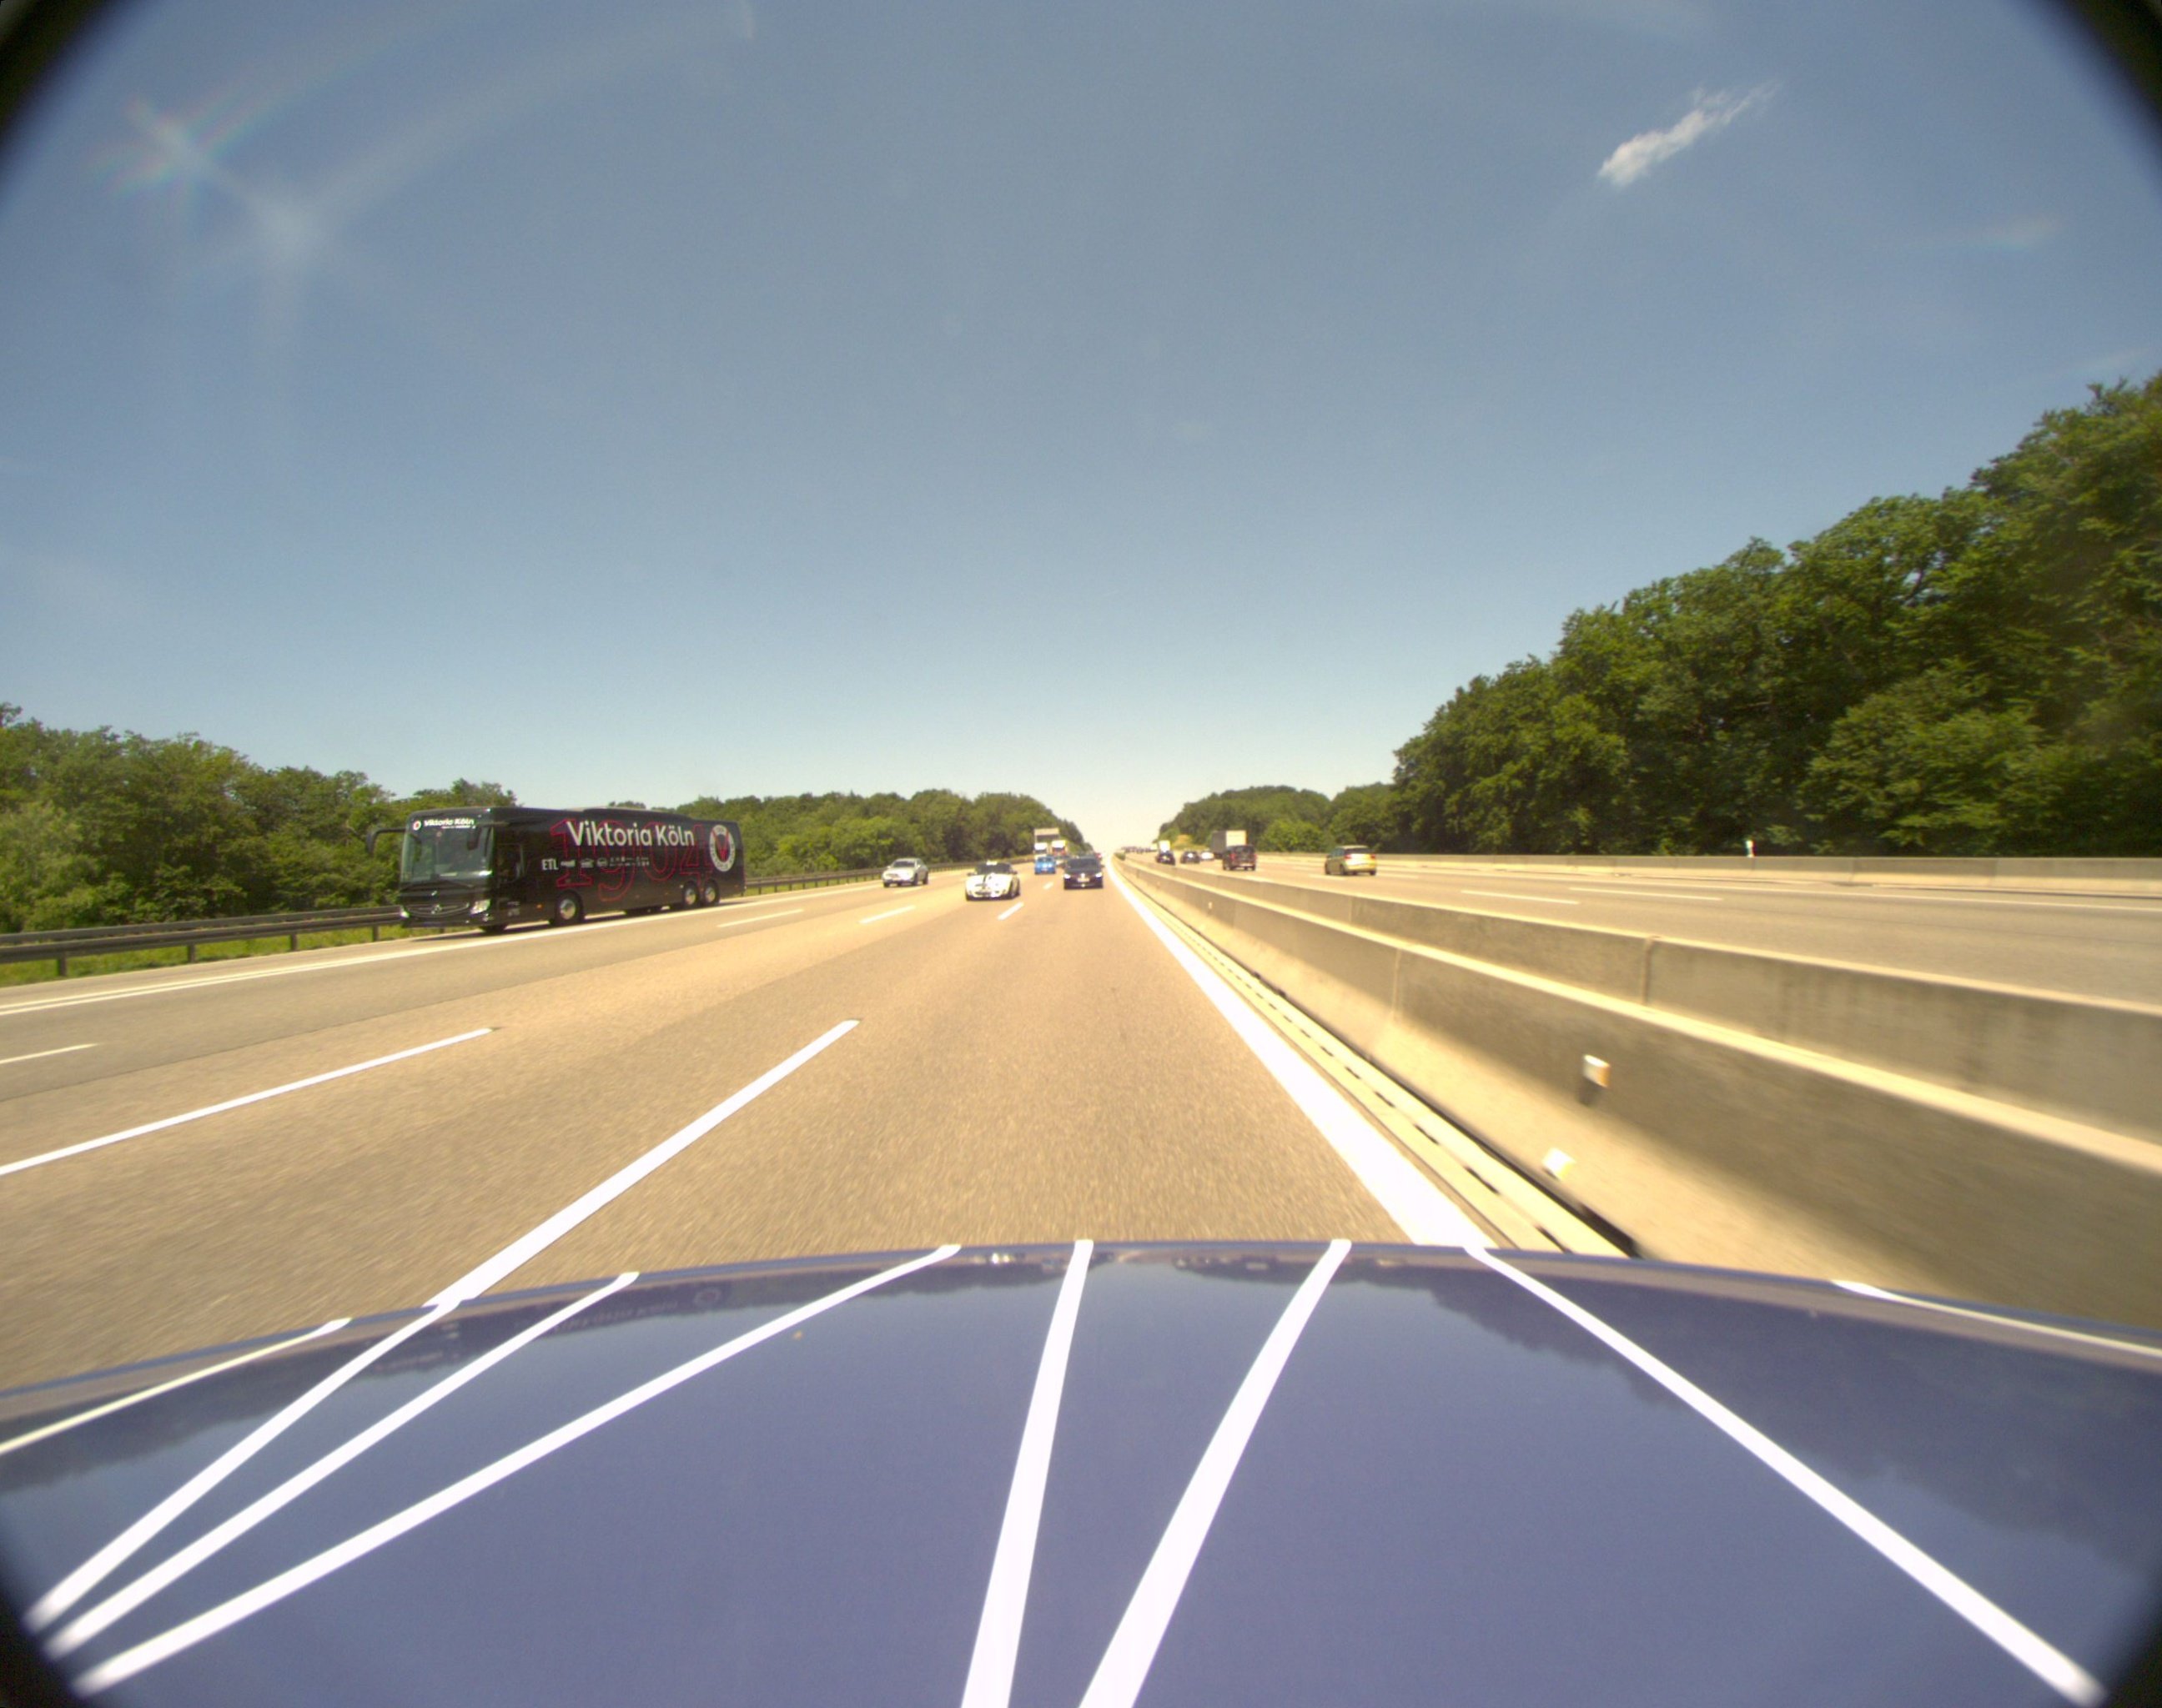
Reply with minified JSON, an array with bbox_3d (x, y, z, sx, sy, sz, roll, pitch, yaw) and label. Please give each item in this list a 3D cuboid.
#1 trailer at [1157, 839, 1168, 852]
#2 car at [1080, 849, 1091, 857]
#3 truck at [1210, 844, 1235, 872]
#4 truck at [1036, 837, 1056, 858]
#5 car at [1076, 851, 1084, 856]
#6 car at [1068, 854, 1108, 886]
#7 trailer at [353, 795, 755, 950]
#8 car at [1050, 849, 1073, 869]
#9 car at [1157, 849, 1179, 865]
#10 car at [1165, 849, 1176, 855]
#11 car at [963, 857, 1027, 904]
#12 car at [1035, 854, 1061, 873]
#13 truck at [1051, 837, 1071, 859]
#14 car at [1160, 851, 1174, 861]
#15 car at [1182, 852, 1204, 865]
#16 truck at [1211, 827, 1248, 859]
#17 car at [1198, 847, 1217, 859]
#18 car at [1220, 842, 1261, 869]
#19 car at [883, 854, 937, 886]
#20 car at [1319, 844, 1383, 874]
[{"bbox_3d":[26.829,-2.883,249.956,2.648,4.200,14.362,-1,0,2],"label":"trailer"},{"bbox_3d":[0.910,-0.205,154.393,1.910,1.503,4.161,-4,-1,4],"label":"car"},{"bbox_3d":[20.759,0.547,112.023,2.664,4.002,5.510,-2,1,1],"label":"truck"},{"bbox_3d":[-7.249,-1.286,159.775,2.728,4.136,10.972,-4,-1,3],"label":"truck"},{"bbox_3d":[-0.389,-0.125,218.421,1.910,1.503,4.161,-4,-1,4],"label":"car"},{"bbox_3d":[0.409,0.769,38.276,1.777,1.425,4.144,-2,0,3],"label":"car"},{"bbox_3d":[-15.740,0.351,25.233,2.864,3.666,13.544,-2,1,4],"label":"trailer"},{"bbox_3d":[-2.251,0.510,87.437,1.965,2.041,4.785,-5,0,5],"label":"car"},{"bbox_3d":[8.501,0.289,74.577,1.605,1.460,4.505,-2,1,1],"label":"car"},{"bbox_3d":[18.874,-0.462,160.433,1.836,1.294,4.729,-2,1,1],"label":"car"},{"bbox_3d":[-3.141,0.934,28.645,1.846,1.543,4.000,-3,0,1],"label":"car"},{"bbox_3d":[-2.689,0.748,62.832,1.741,1.403,4.000,-3,0,3],"label":"car"},{"bbox_3d":[-3.710,-1.120,145.655,3.018,3.957,7.542,-4,-1,3],"label":"truck"},{"bbox_3d":[13.900,0.231,122.894,1.836,1.553,4.776,0,1,1],"label":"car"},{"bbox_3d":[12.808,0.493,87.448,1.877,1.467,5.111,-2,1,1],"label":"car"},{"bbox_3d":[20.481,-1.467,105.570,2.696,4.002,14.298,-2,0,2],"label":"truck"},{"bbox_3d":[16.547,-0.167,99.445,1.877,1.526,4.136,-2,1,1],"label":"car"},{"bbox_3d":[11.872,0.072,56.905,1.877,1.929,5.774,-2,1,1],"label":"car"},{"bbox_3d":[-10.210,0.940,45.754,1.805,1.721,5.240,-2,0,3],"label":"car"},{"bbox_3d":[14.865,0.234,42.113,1.877,1.526,4.813,-2,1,1],"label":"car"}]
